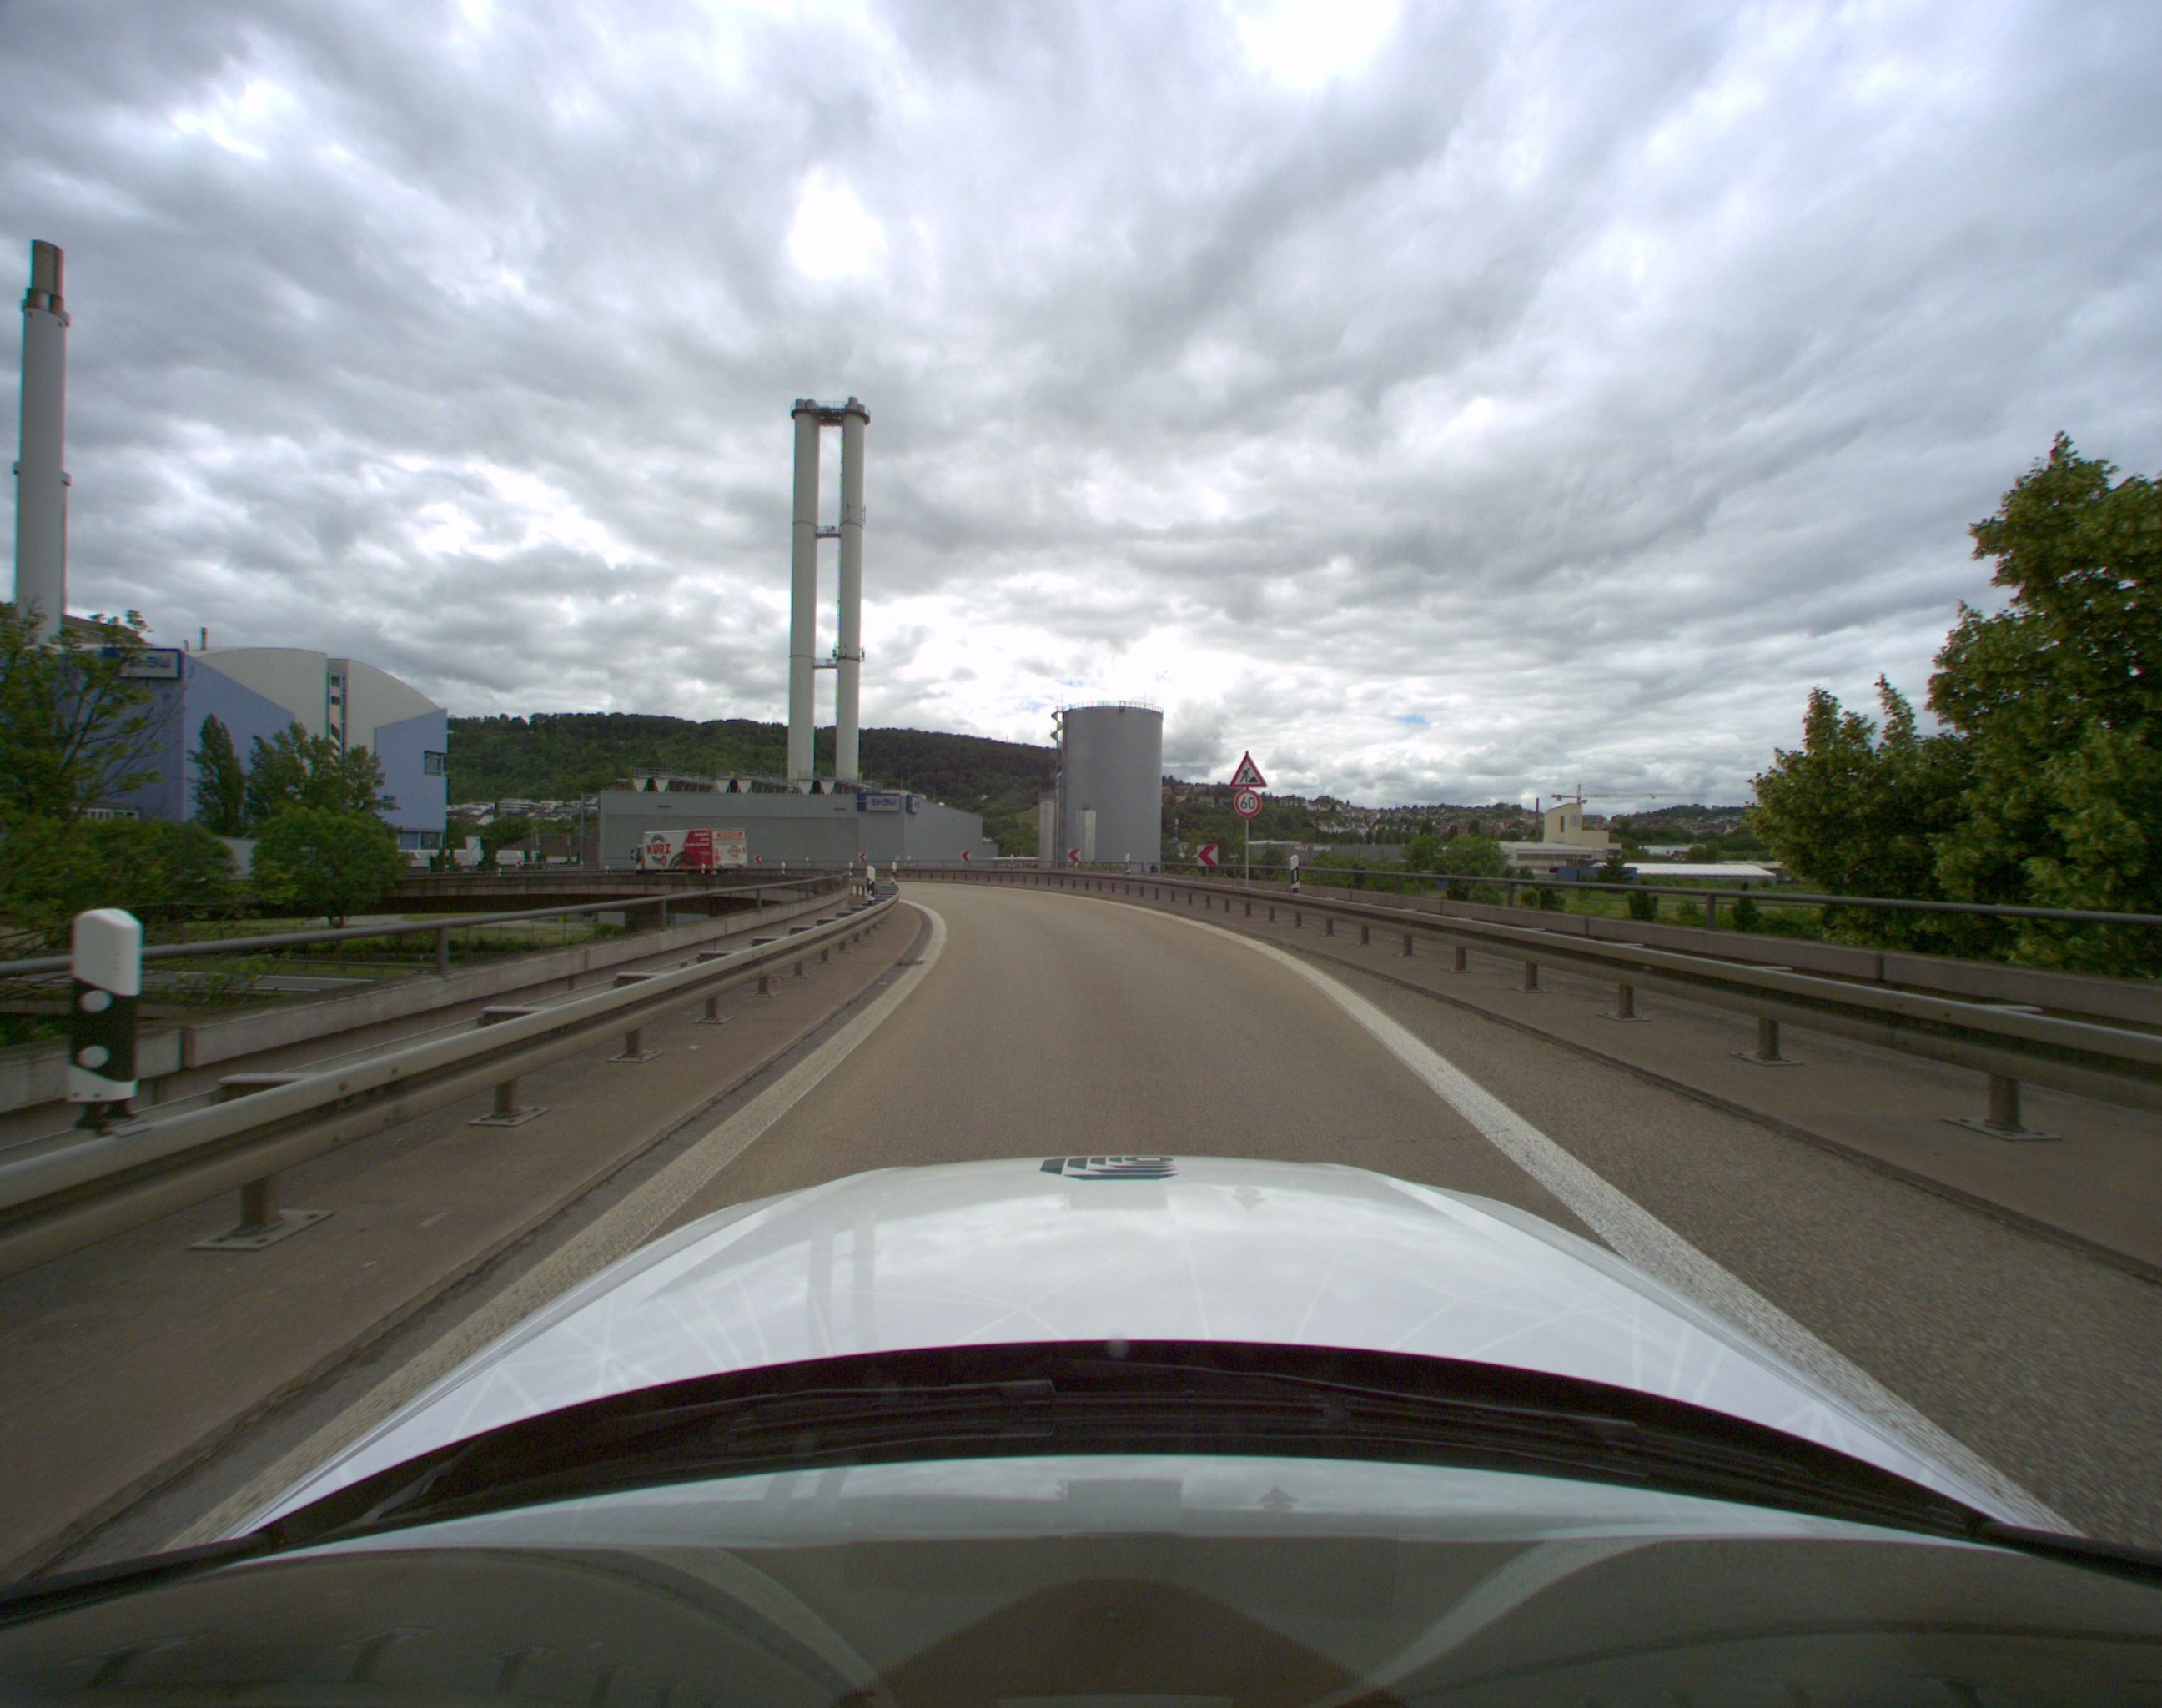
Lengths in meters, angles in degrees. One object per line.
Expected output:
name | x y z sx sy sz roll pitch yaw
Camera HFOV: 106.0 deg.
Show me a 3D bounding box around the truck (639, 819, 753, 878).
truck | -25.807 -0.335 54.496 7.825 3.673 3.080 0 0 32
